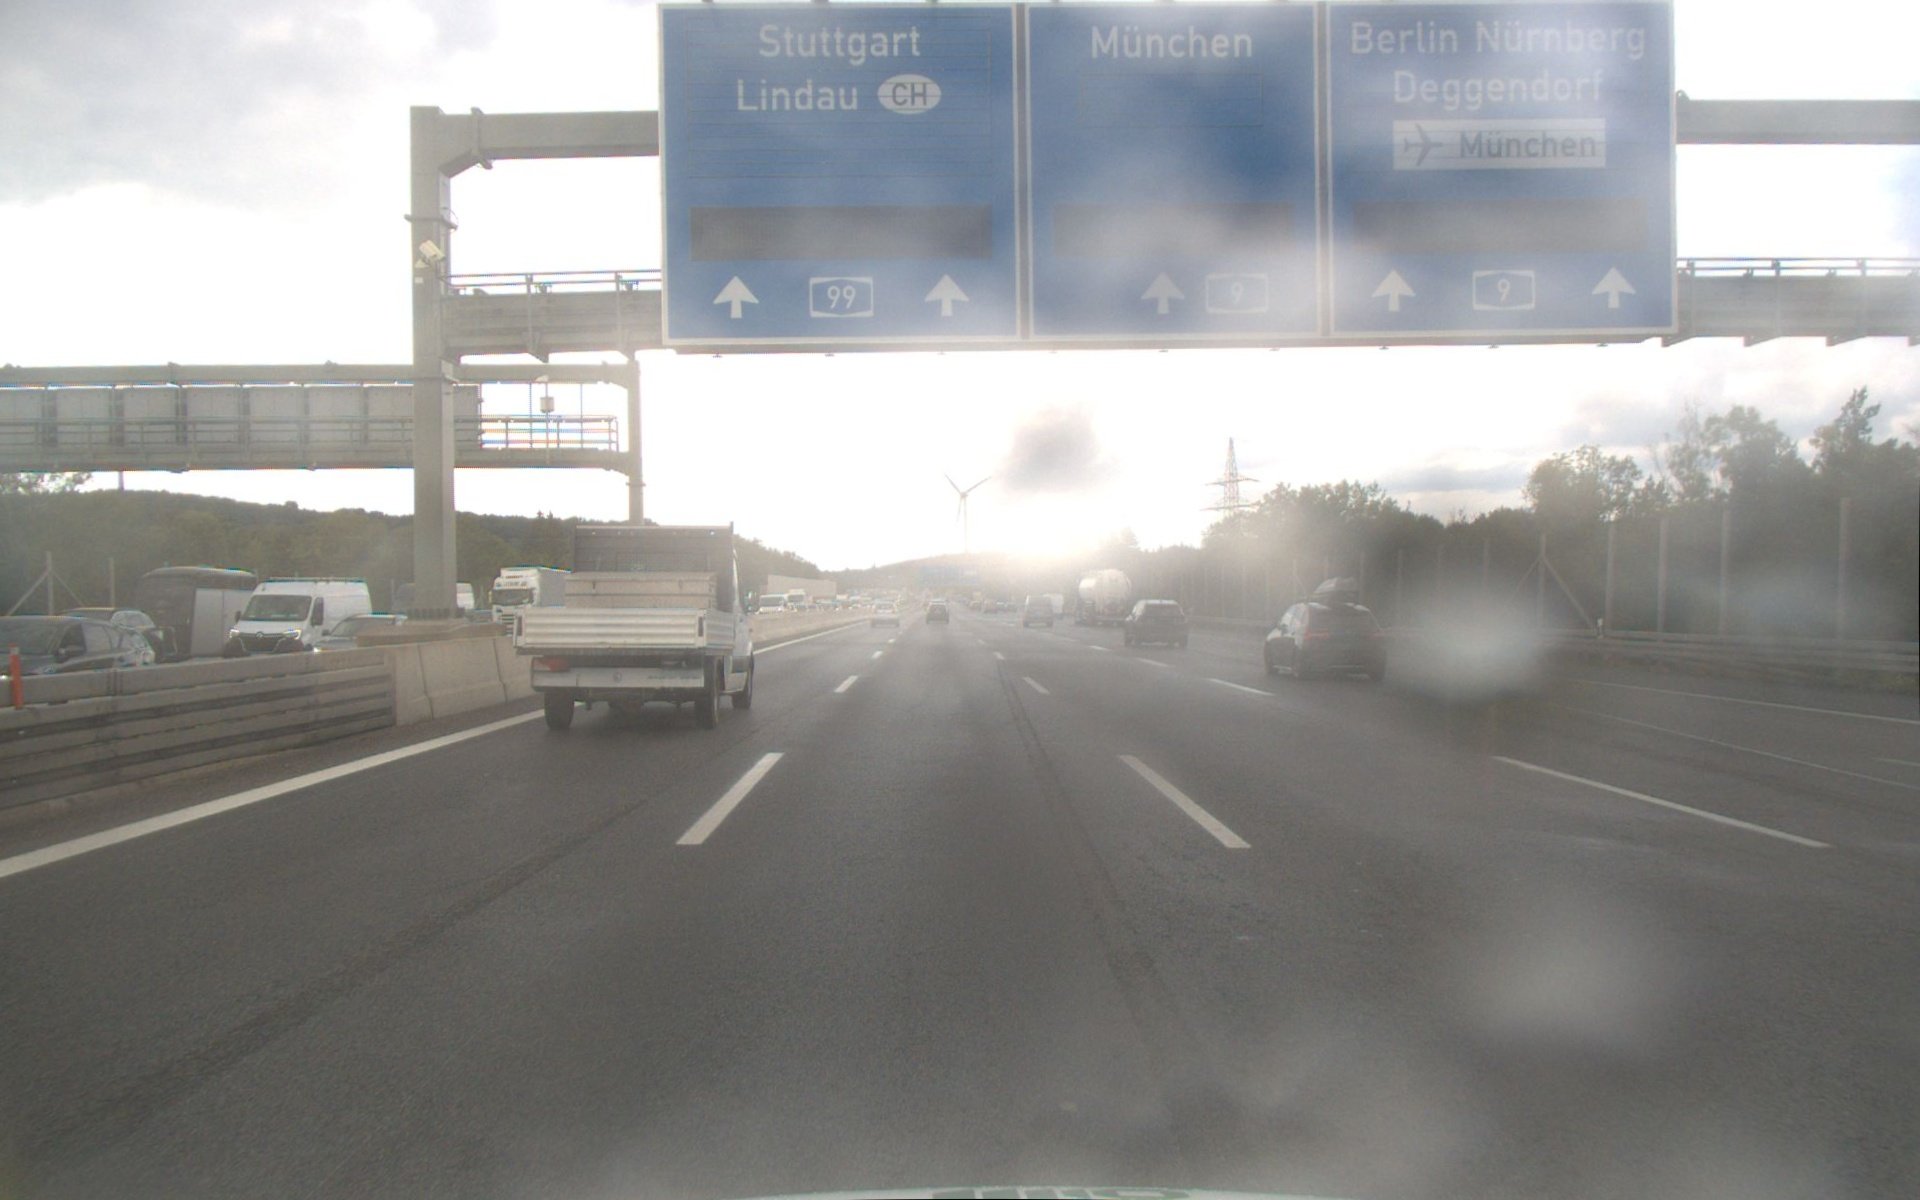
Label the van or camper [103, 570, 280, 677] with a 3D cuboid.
[{"bbox_3d":[-22.271,0.614,48.289,2.532,2.897,6.210,0,0,-3],"label":"van or camper"}]

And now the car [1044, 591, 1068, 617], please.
[{"bbox_3d":[9.532,0.426,164.370,2.004,2.541,3.999,0,0,-1],"label":"car"}]

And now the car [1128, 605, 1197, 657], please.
[{"bbox_3d":[7.110,1.067,58.575,2.002,1.729,5.008,0,0,2],"label":"car"}]

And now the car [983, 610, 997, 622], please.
[{"bbox_3d":[4.429,2.360,246.365,2.003,1.729,4.000,0,0,0],"label":"car"}]

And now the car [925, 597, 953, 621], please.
[{"bbox_3d":[-1.589,0.663,122.698,2.004,1.729,3.999,0,0,-2],"label":"car"}]

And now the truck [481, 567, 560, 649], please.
[{"bbox_3d":[-27.558,0.477,104.023,3.084,4.941,8.023,0,0,-2],"label":"truck"}]

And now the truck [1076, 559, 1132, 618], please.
[{"bbox_3d":[10.597,-0.834,122.334,3.265,4.151,8.270,1,0,-1],"label":"truck"}]

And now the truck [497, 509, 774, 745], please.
[{"bbox_3d":[-3.817,0.266,21.061,2.306,2.450,7.355,1,0,-2],"label":"truck"}]

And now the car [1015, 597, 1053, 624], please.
[{"bbox_3d":[4.900,0.672,109.420,2.056,1.729,3.997,0,0,-4],"label":"car"}]

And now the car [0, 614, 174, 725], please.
[{"bbox_3d":[-13.821,0.955,24.422,2.037,1.381,5.255,-1,0,-2],"label":"car"}]

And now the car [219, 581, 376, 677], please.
[{"bbox_3d":[-18.664,0.747,46.989,2.158,2.532,6.063,0,0,-2],"label":"car"}]

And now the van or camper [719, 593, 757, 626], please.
[{"bbox_3d":[-15.373,0.607,114.804,2.052,2.224,4.970,0,0,-1],"label":"van or camper"}]

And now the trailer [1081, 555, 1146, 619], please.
[{"bbox_3d":[10.677,-0.850,116.369,3.265,4.249,11.836,1,0,-1],"label":"trailer"}]

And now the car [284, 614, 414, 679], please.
[{"bbox_3d":[-14.756,1.087,40.189,1.669,1.416,4.503,-1,0,-3],"label":"car"}]

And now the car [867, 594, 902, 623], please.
[{"bbox_3d":[-4.589,0.521,101.061,2.004,1.729,3.999,0,0,-1],"label":"car"}]

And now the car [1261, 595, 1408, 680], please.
[{"bbox_3d":[7.688,0.750,34.448,2.061,1.634,5.066,0,-1,2],"label":"car"}]
